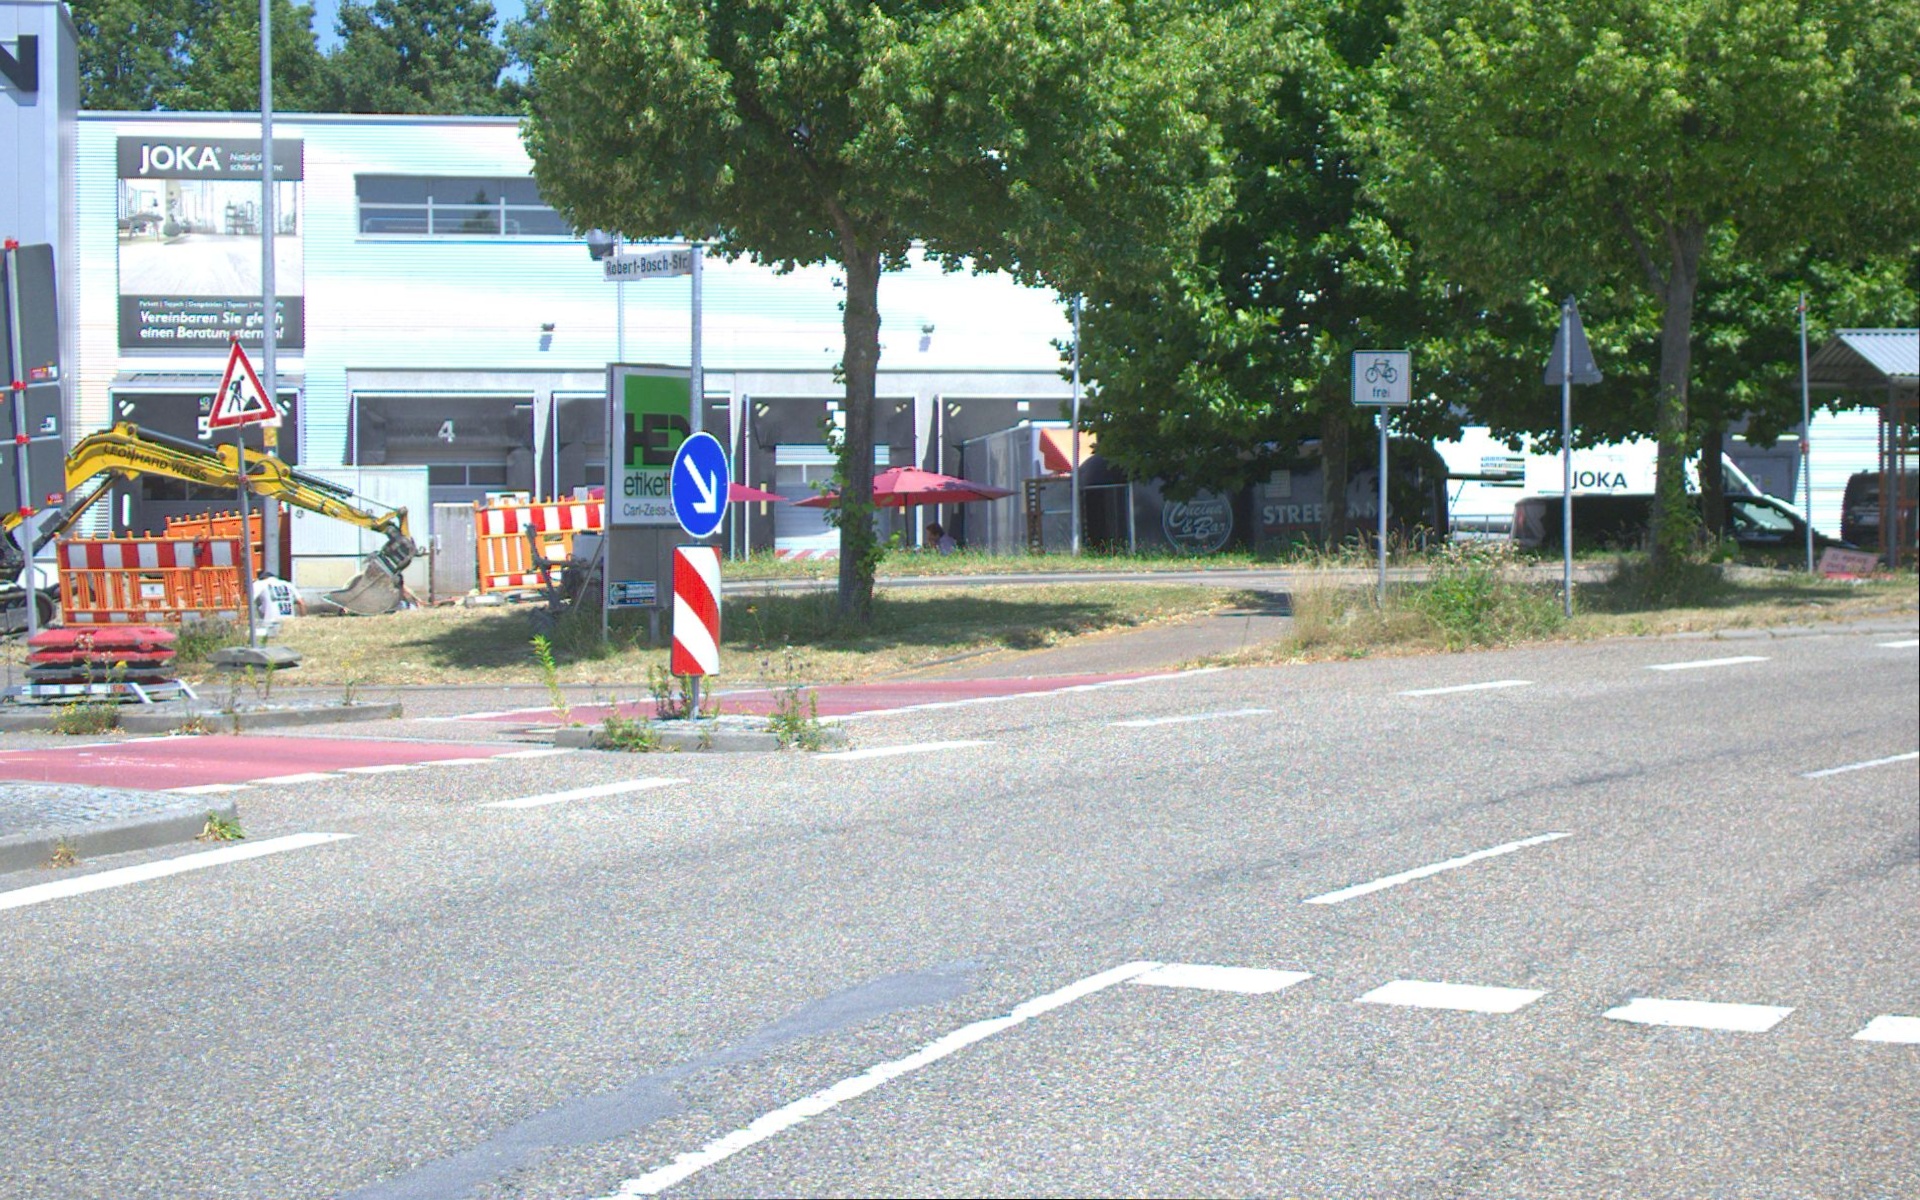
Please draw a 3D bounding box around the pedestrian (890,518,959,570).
[{"bbox_3d":[-0.495,-0.772,47.722,0.864,0.693,0.407,-1,2,13],"label":"pedestrian"}]

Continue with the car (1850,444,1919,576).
[{"bbox_3d":[15.561,-1.370,52.572,1.543,2.007,4.266,1,0,-21],"label":"car"}]

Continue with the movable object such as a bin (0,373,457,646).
[{"bbox_3d":[-8.702,-0.902,36.126,6.555,2.572,2.000,-3,1,-5],"label":"movable object such as a bin"}]

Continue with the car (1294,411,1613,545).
[{"bbox_3d":[6.842,-1.686,47.841,3.986,1.722,1.841,-2,1,-9],"label":"car"}]
